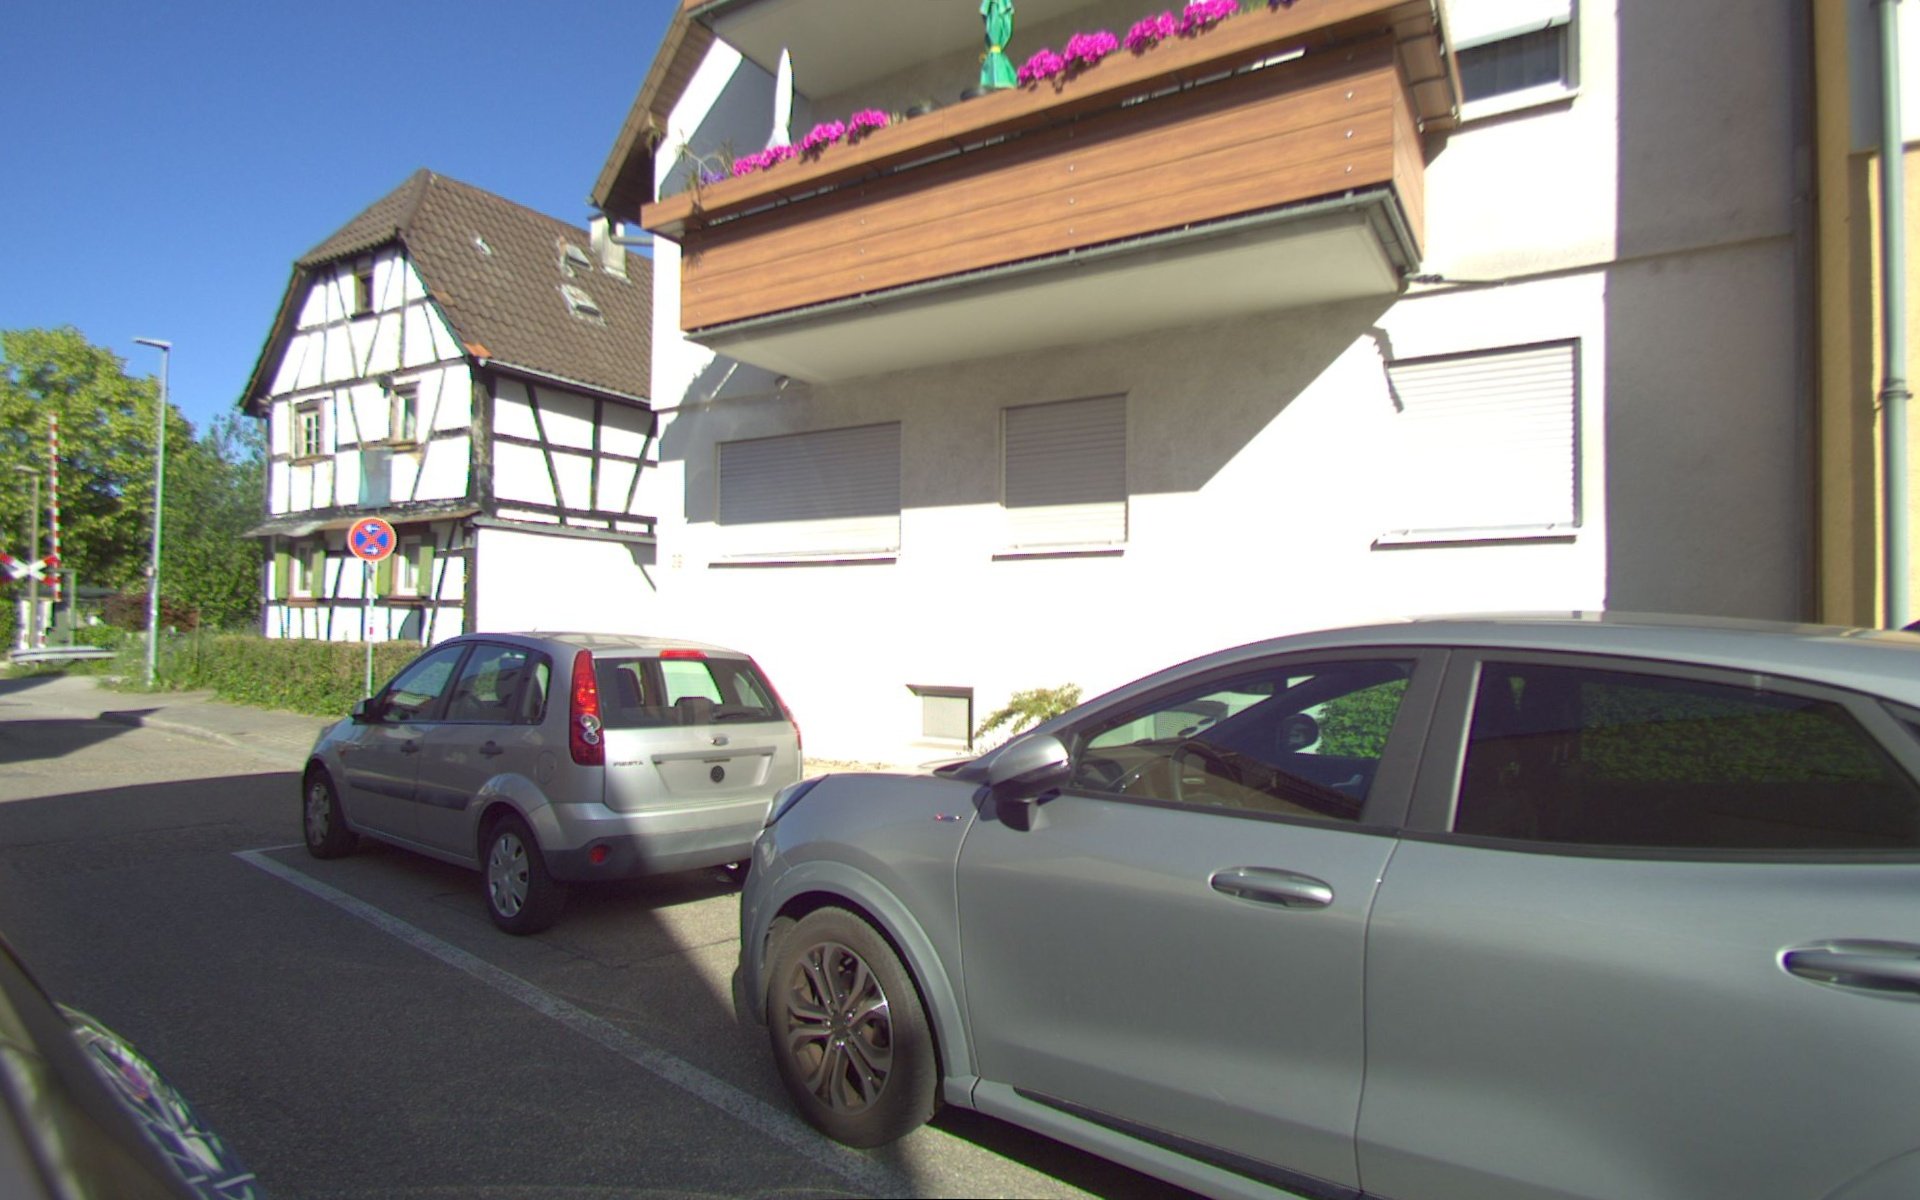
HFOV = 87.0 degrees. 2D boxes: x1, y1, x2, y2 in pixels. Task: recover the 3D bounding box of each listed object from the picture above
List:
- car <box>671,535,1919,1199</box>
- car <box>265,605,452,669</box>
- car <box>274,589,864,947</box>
[{"bbox_3d":[1.152,0.714,2.617,4.091,1.517,1.656,-1,-3,40],"label":"car"},{"bbox_3d":[-15.900,0.956,26.916,3.936,1.576,1.692,0,0,-9],"label":"car"},{"bbox_3d":[-2.543,0.804,6.171,3.849,1.517,1.615,-2,-5,39],"label":"car"}]
